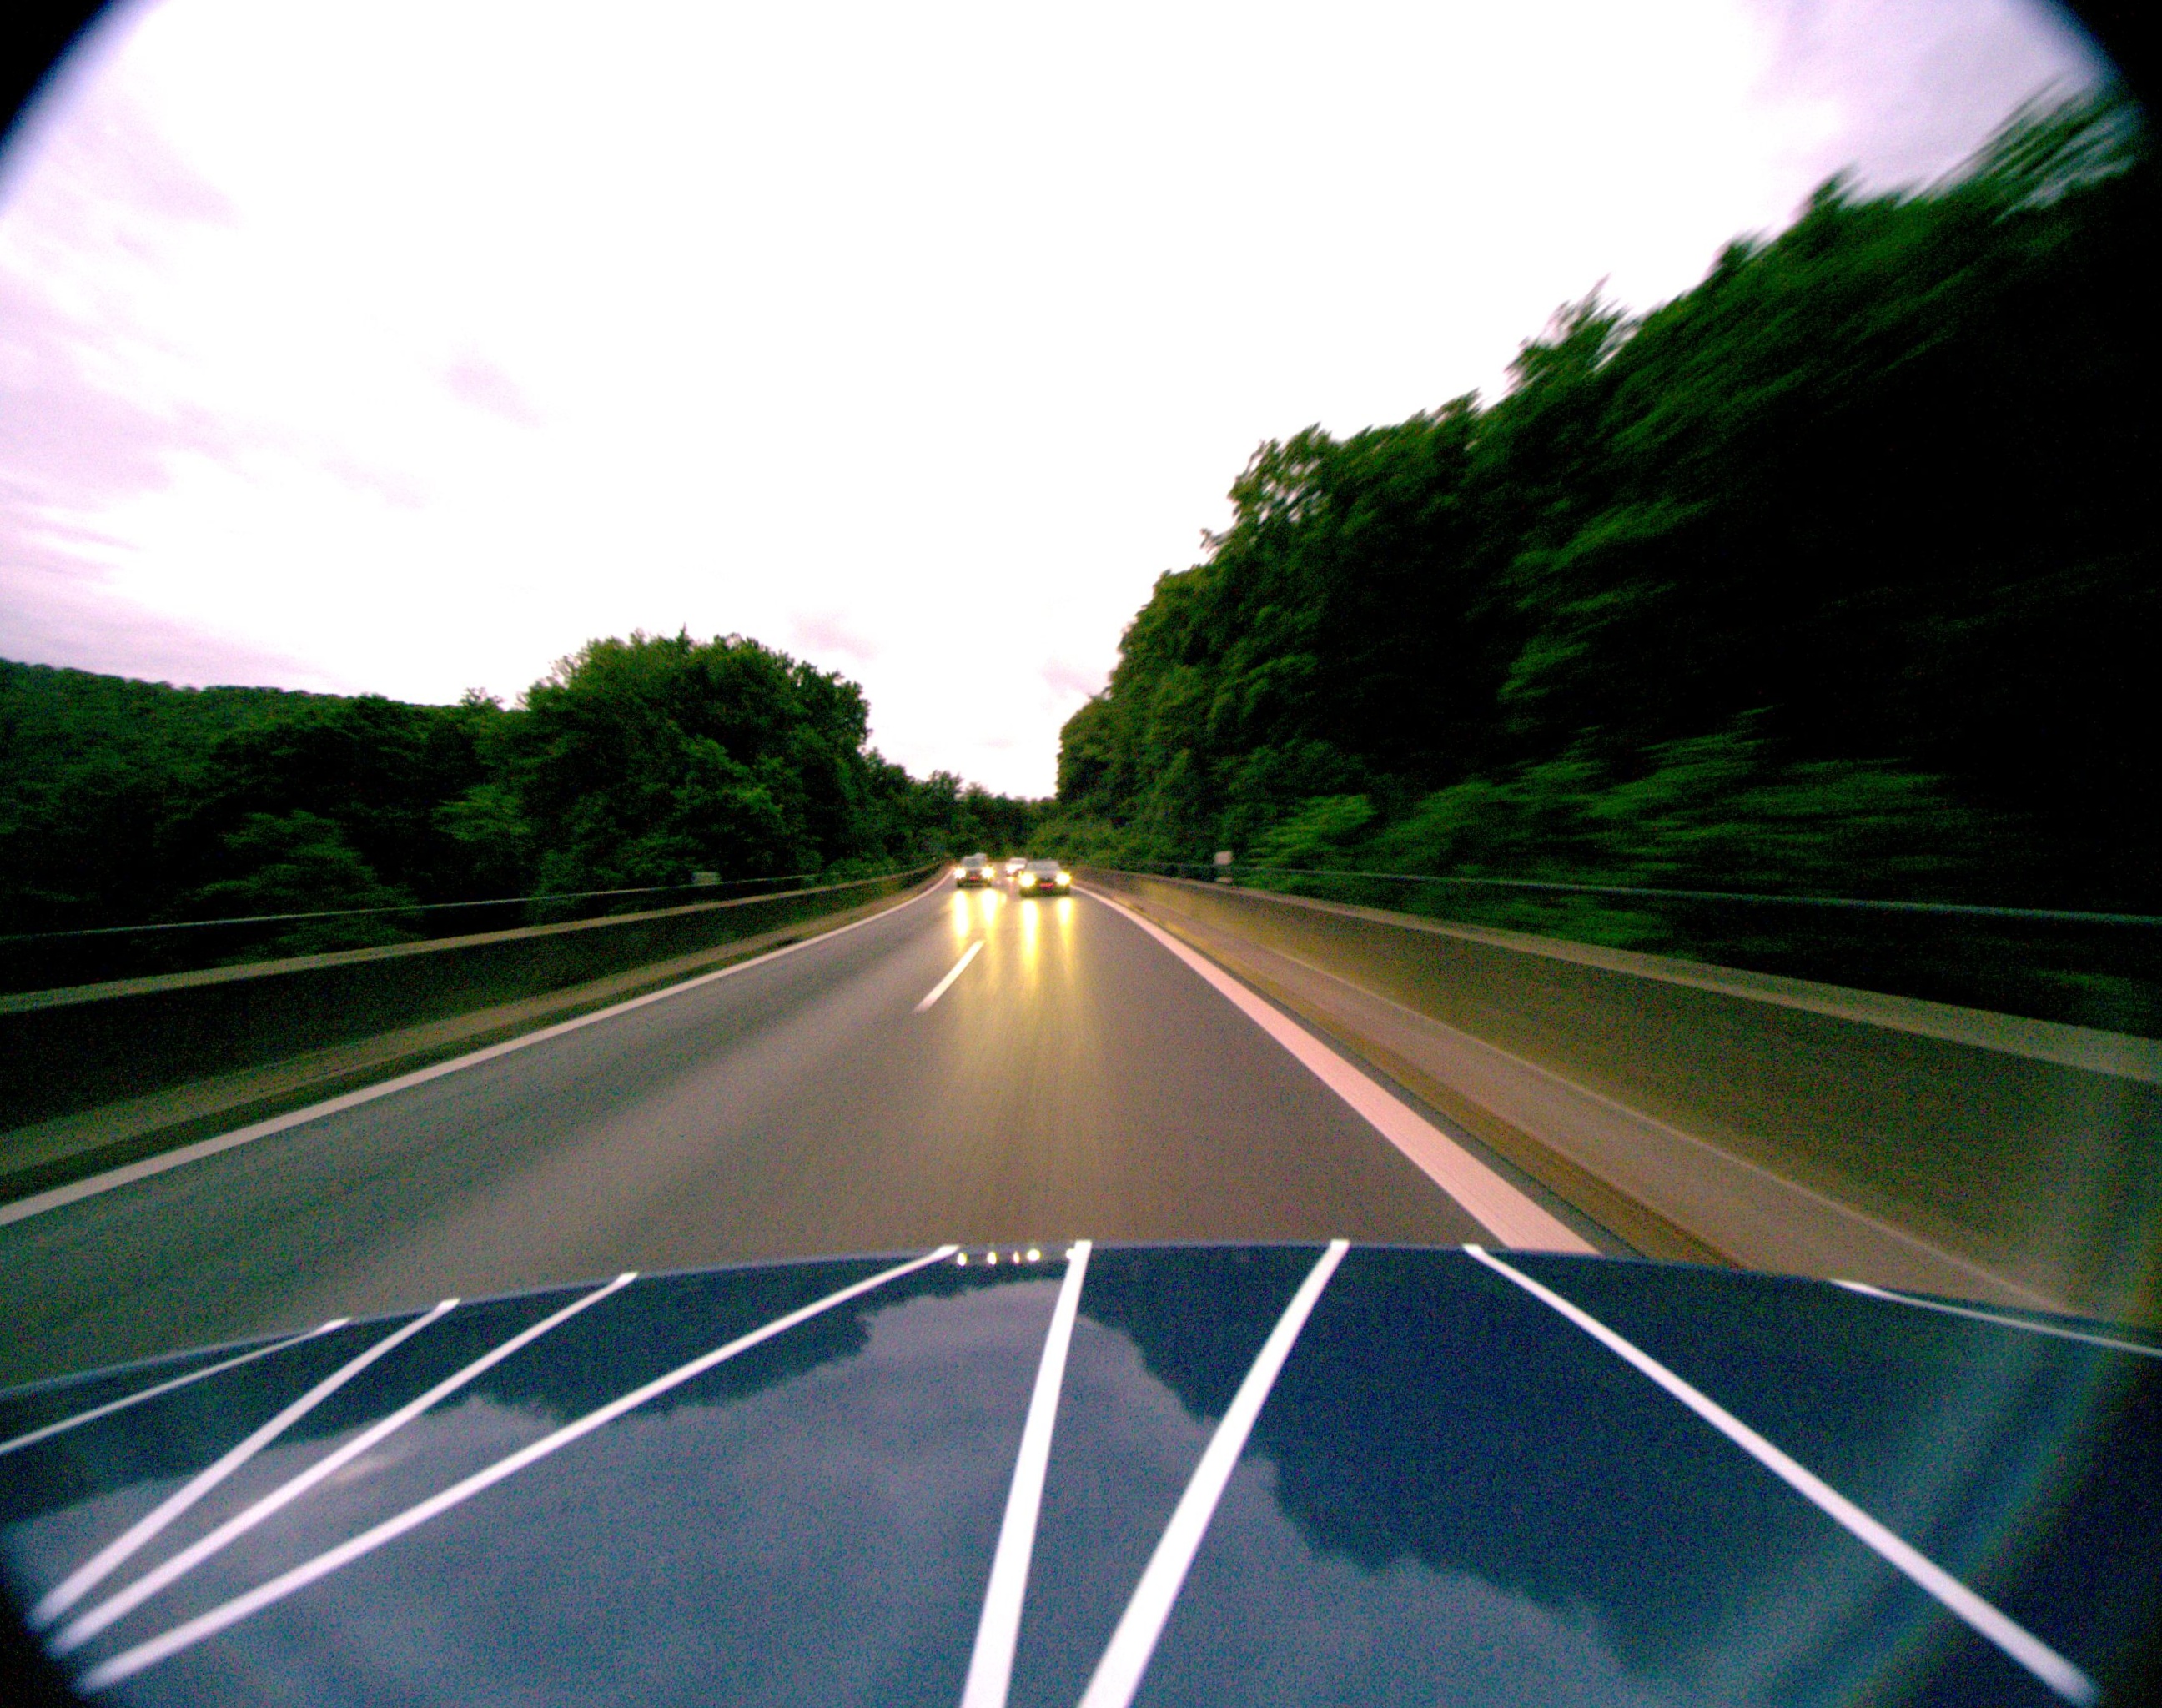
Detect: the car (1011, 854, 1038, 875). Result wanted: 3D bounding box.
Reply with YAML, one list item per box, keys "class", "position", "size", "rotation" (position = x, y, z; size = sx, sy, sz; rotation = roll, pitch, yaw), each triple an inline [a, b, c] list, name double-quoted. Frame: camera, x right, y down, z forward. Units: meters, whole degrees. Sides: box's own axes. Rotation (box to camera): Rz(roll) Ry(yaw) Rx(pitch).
- class: "car"
  position: [-4.469, 0.788, 60.129]
  size: [1.999, 1.499, 3.998]
  rotation: [2, 1, -5]

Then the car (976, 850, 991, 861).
- class: "car"
  position: [-15.020, 0.262, 117.437]
  size: [1.999, 1.608, 3.998]
  rotation: [3, 0, -4]

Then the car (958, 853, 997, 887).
- class: "car"
  position: [-5.645, 0.822, 41.799]
  size: [2.000, 1.631, 3.996]
  rotation: [-2, 2, -7]

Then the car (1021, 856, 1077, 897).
- class: "car"
  position: [-1.369, 0.844, 30.667]
  size: [1.999, 1.499, 3.998]
  rotation: [-1, 0, -6]
